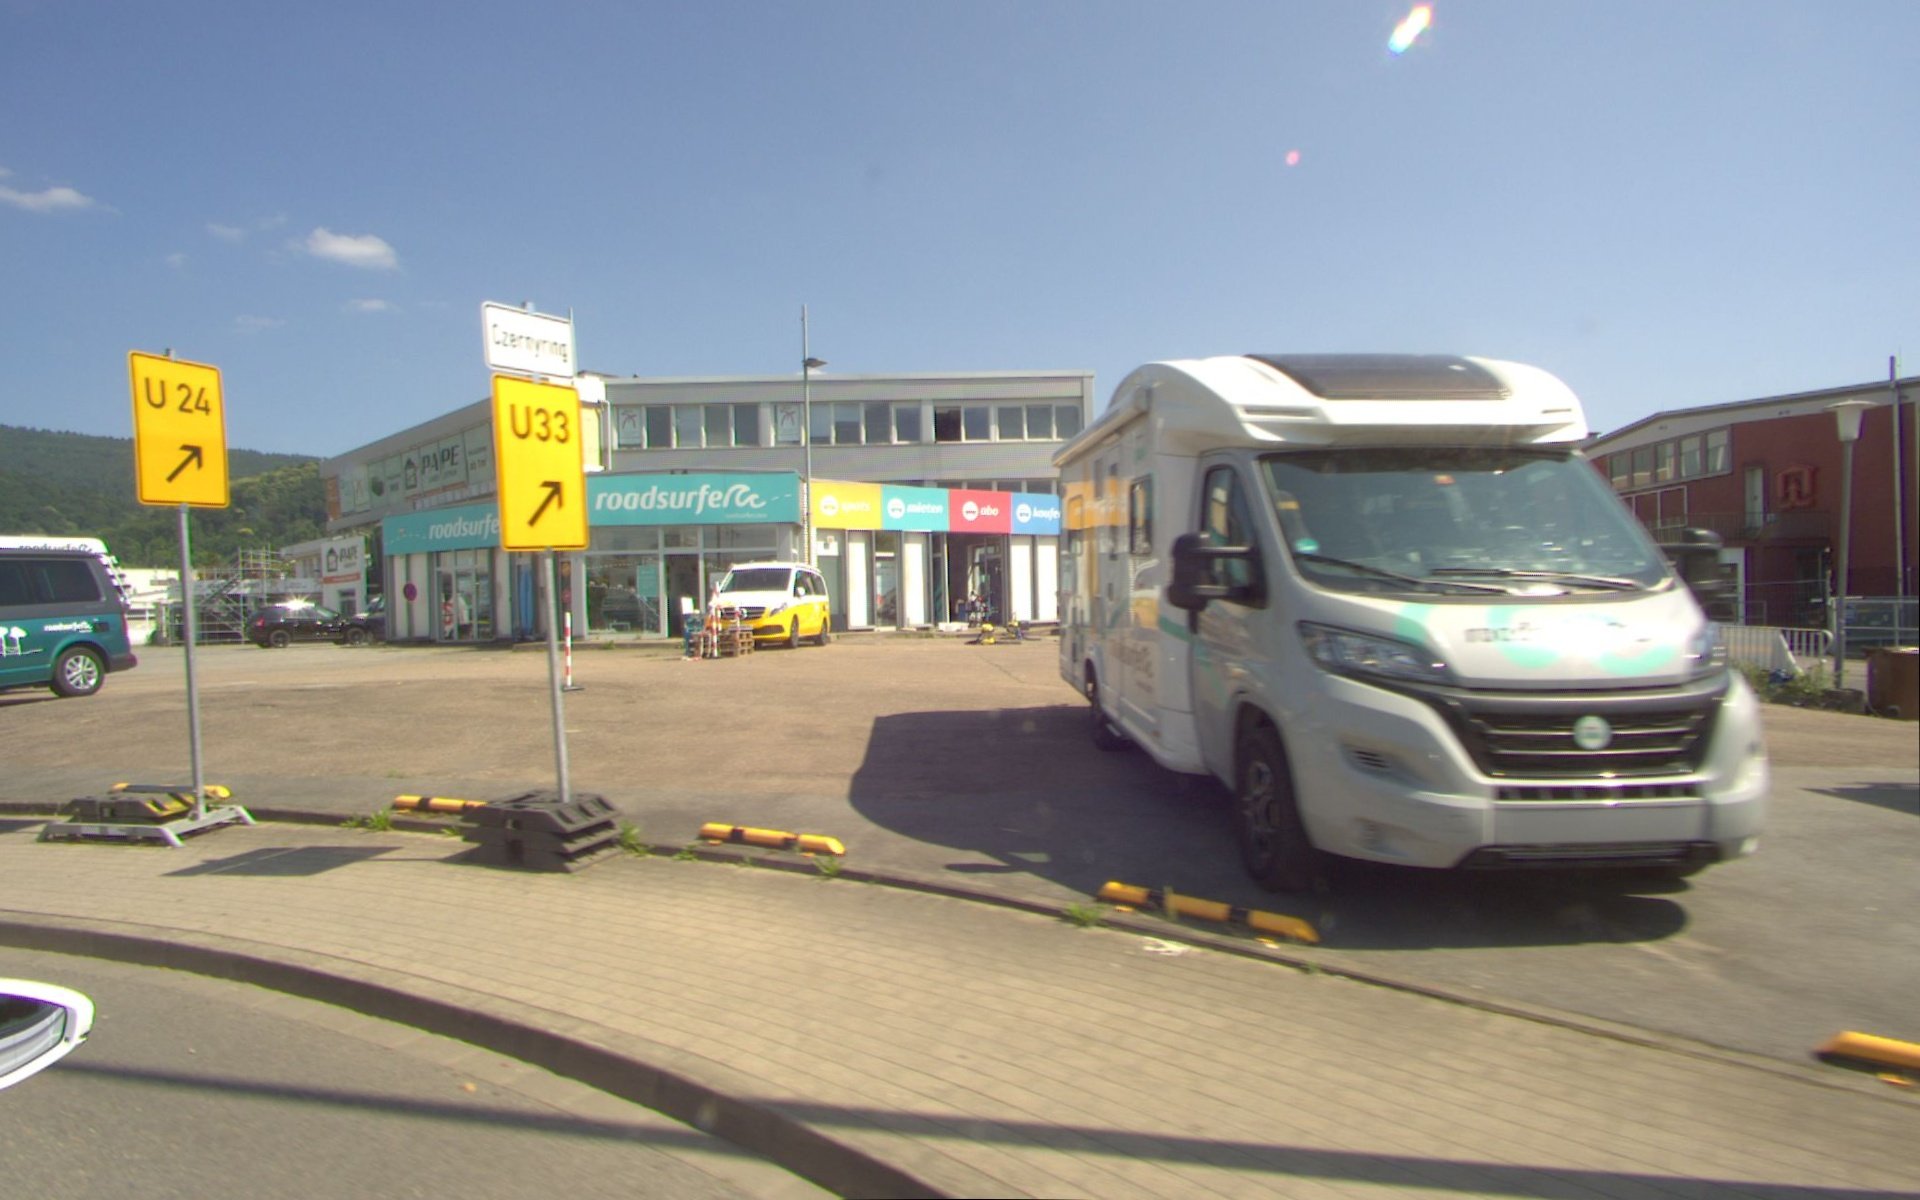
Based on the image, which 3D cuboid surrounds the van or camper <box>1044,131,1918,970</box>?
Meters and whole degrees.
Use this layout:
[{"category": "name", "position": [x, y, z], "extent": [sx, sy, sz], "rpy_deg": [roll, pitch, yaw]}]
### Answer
[{"category": "van or camper", "position": [2.196, -0.231, 7.147], "extent": [2.289, 2.986, 7.081], "rpy_deg": [-1, 1, -2]}]

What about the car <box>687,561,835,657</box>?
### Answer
[{"category": "car", "position": [-4.346, 0.197, 22.796], "extent": [2.057, 1.901, 5.101], "rpy_deg": [-1, 0, 3]}]

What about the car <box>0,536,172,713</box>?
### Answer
[{"category": "car", "position": [-12.617, 0.300, 11.942], "extent": [2.056, 2.141, 5.227], "rpy_deg": [0, 0, 4]}]

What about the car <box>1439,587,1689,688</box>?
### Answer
[{"category": "car", "position": [10.496, 0.615, 17.779], "extent": [1.782, 1.535, 3.895], "rpy_deg": [2, -1, -6]}]

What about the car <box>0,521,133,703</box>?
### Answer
[{"category": "car", "position": [-15.663, 0.188, 14.266], "extent": [2.262, 2.753, 6.156], "rpy_deg": [0, 0, 6]}]

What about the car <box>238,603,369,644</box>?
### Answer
[{"category": "car", "position": [-25.781, 0.887, 39.408], "extent": [1.870, 1.538, 3.966], "rpy_deg": [0, 0, 42]}]
